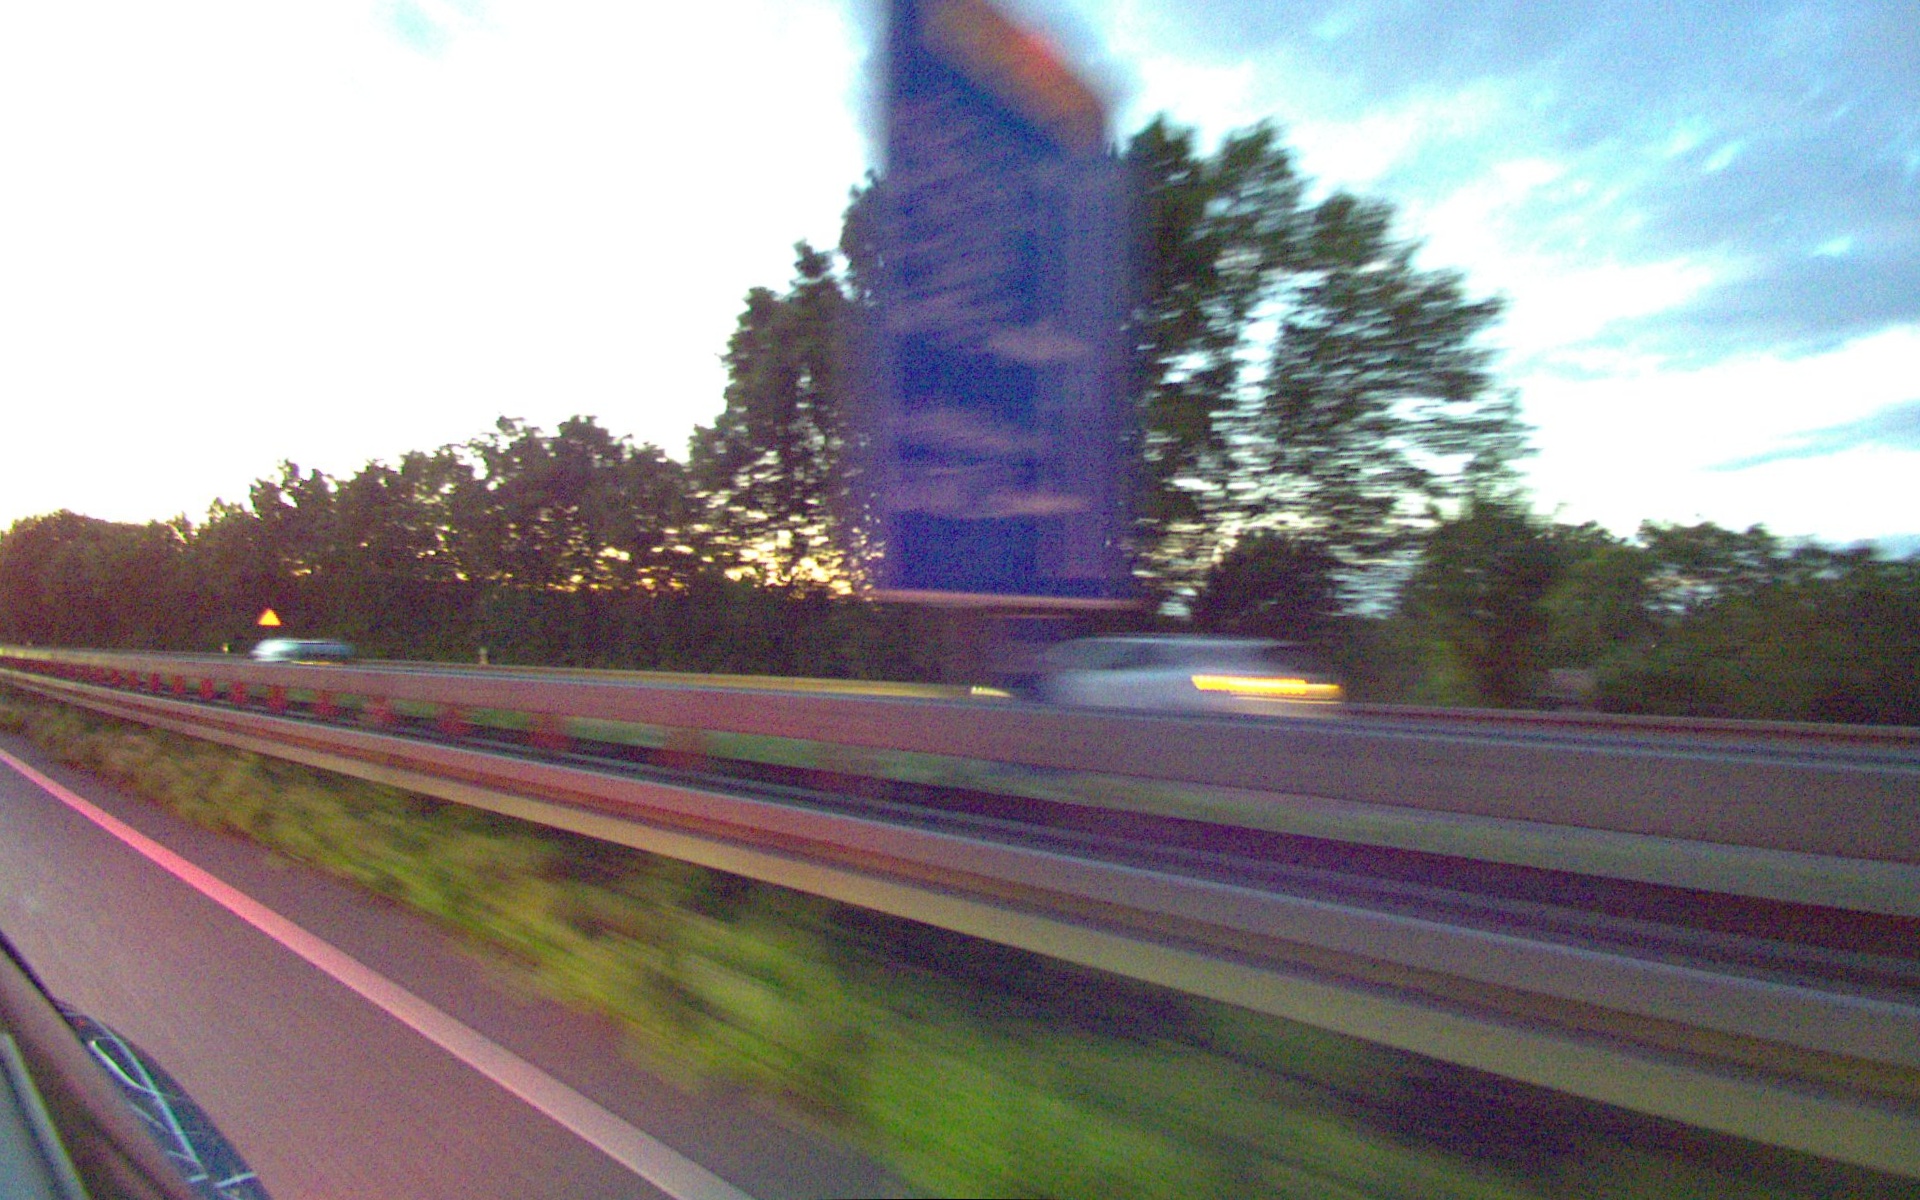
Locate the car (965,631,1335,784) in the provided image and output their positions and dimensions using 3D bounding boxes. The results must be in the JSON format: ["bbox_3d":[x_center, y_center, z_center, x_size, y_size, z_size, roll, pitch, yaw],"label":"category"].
[{"bbox_3d":[2.374,1.273,13.371,4.497,1.684,1.777,-2,-2,39],"label":"car"}]

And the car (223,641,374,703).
[{"bbox_3d":[-16.839,1.784,25.686,4.497,1.443,1.902,-2,-4,39],"label":"car"}]
